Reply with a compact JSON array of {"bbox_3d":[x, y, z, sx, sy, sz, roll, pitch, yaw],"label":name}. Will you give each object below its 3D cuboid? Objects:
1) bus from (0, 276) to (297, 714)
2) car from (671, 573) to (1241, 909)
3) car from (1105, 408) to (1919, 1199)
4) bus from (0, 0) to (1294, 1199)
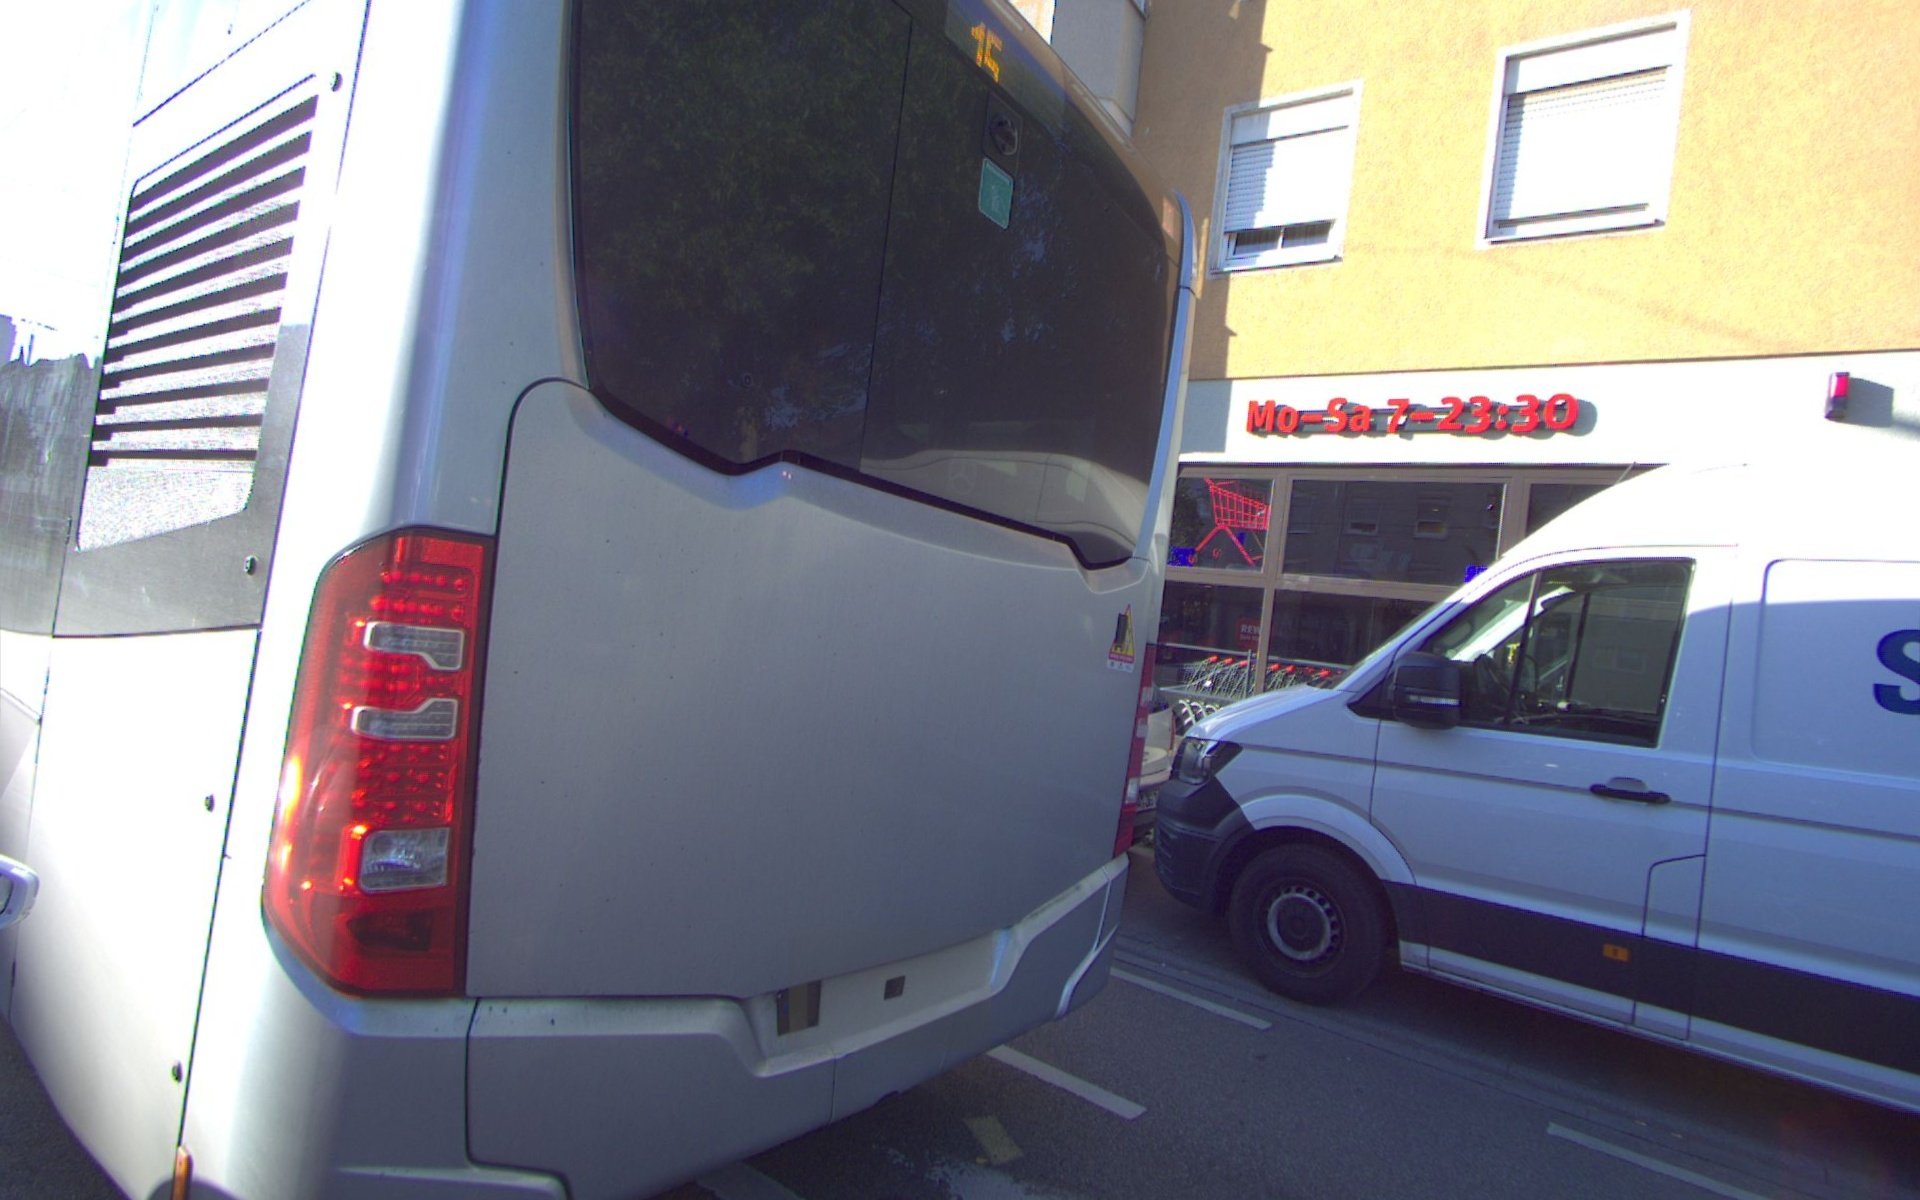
[{"bbox_3d":[-10.239,-1.079,10.303,8.994,3.091,2.740,6,-2,38],"label":"bus"},{"bbox_3d":[-0.149,0.817,7.388,3.729,1.607,1.838,6,0,38],"label":"car"},{"bbox_3d":[3.679,0.695,4.099,5.698,2.586,2.013,6,3,38],"label":"car"},{"bbox_3d":[-3.319,-0.357,4.895,8.721,3.091,2.740,6,-2,38],"label":"bus"}]
